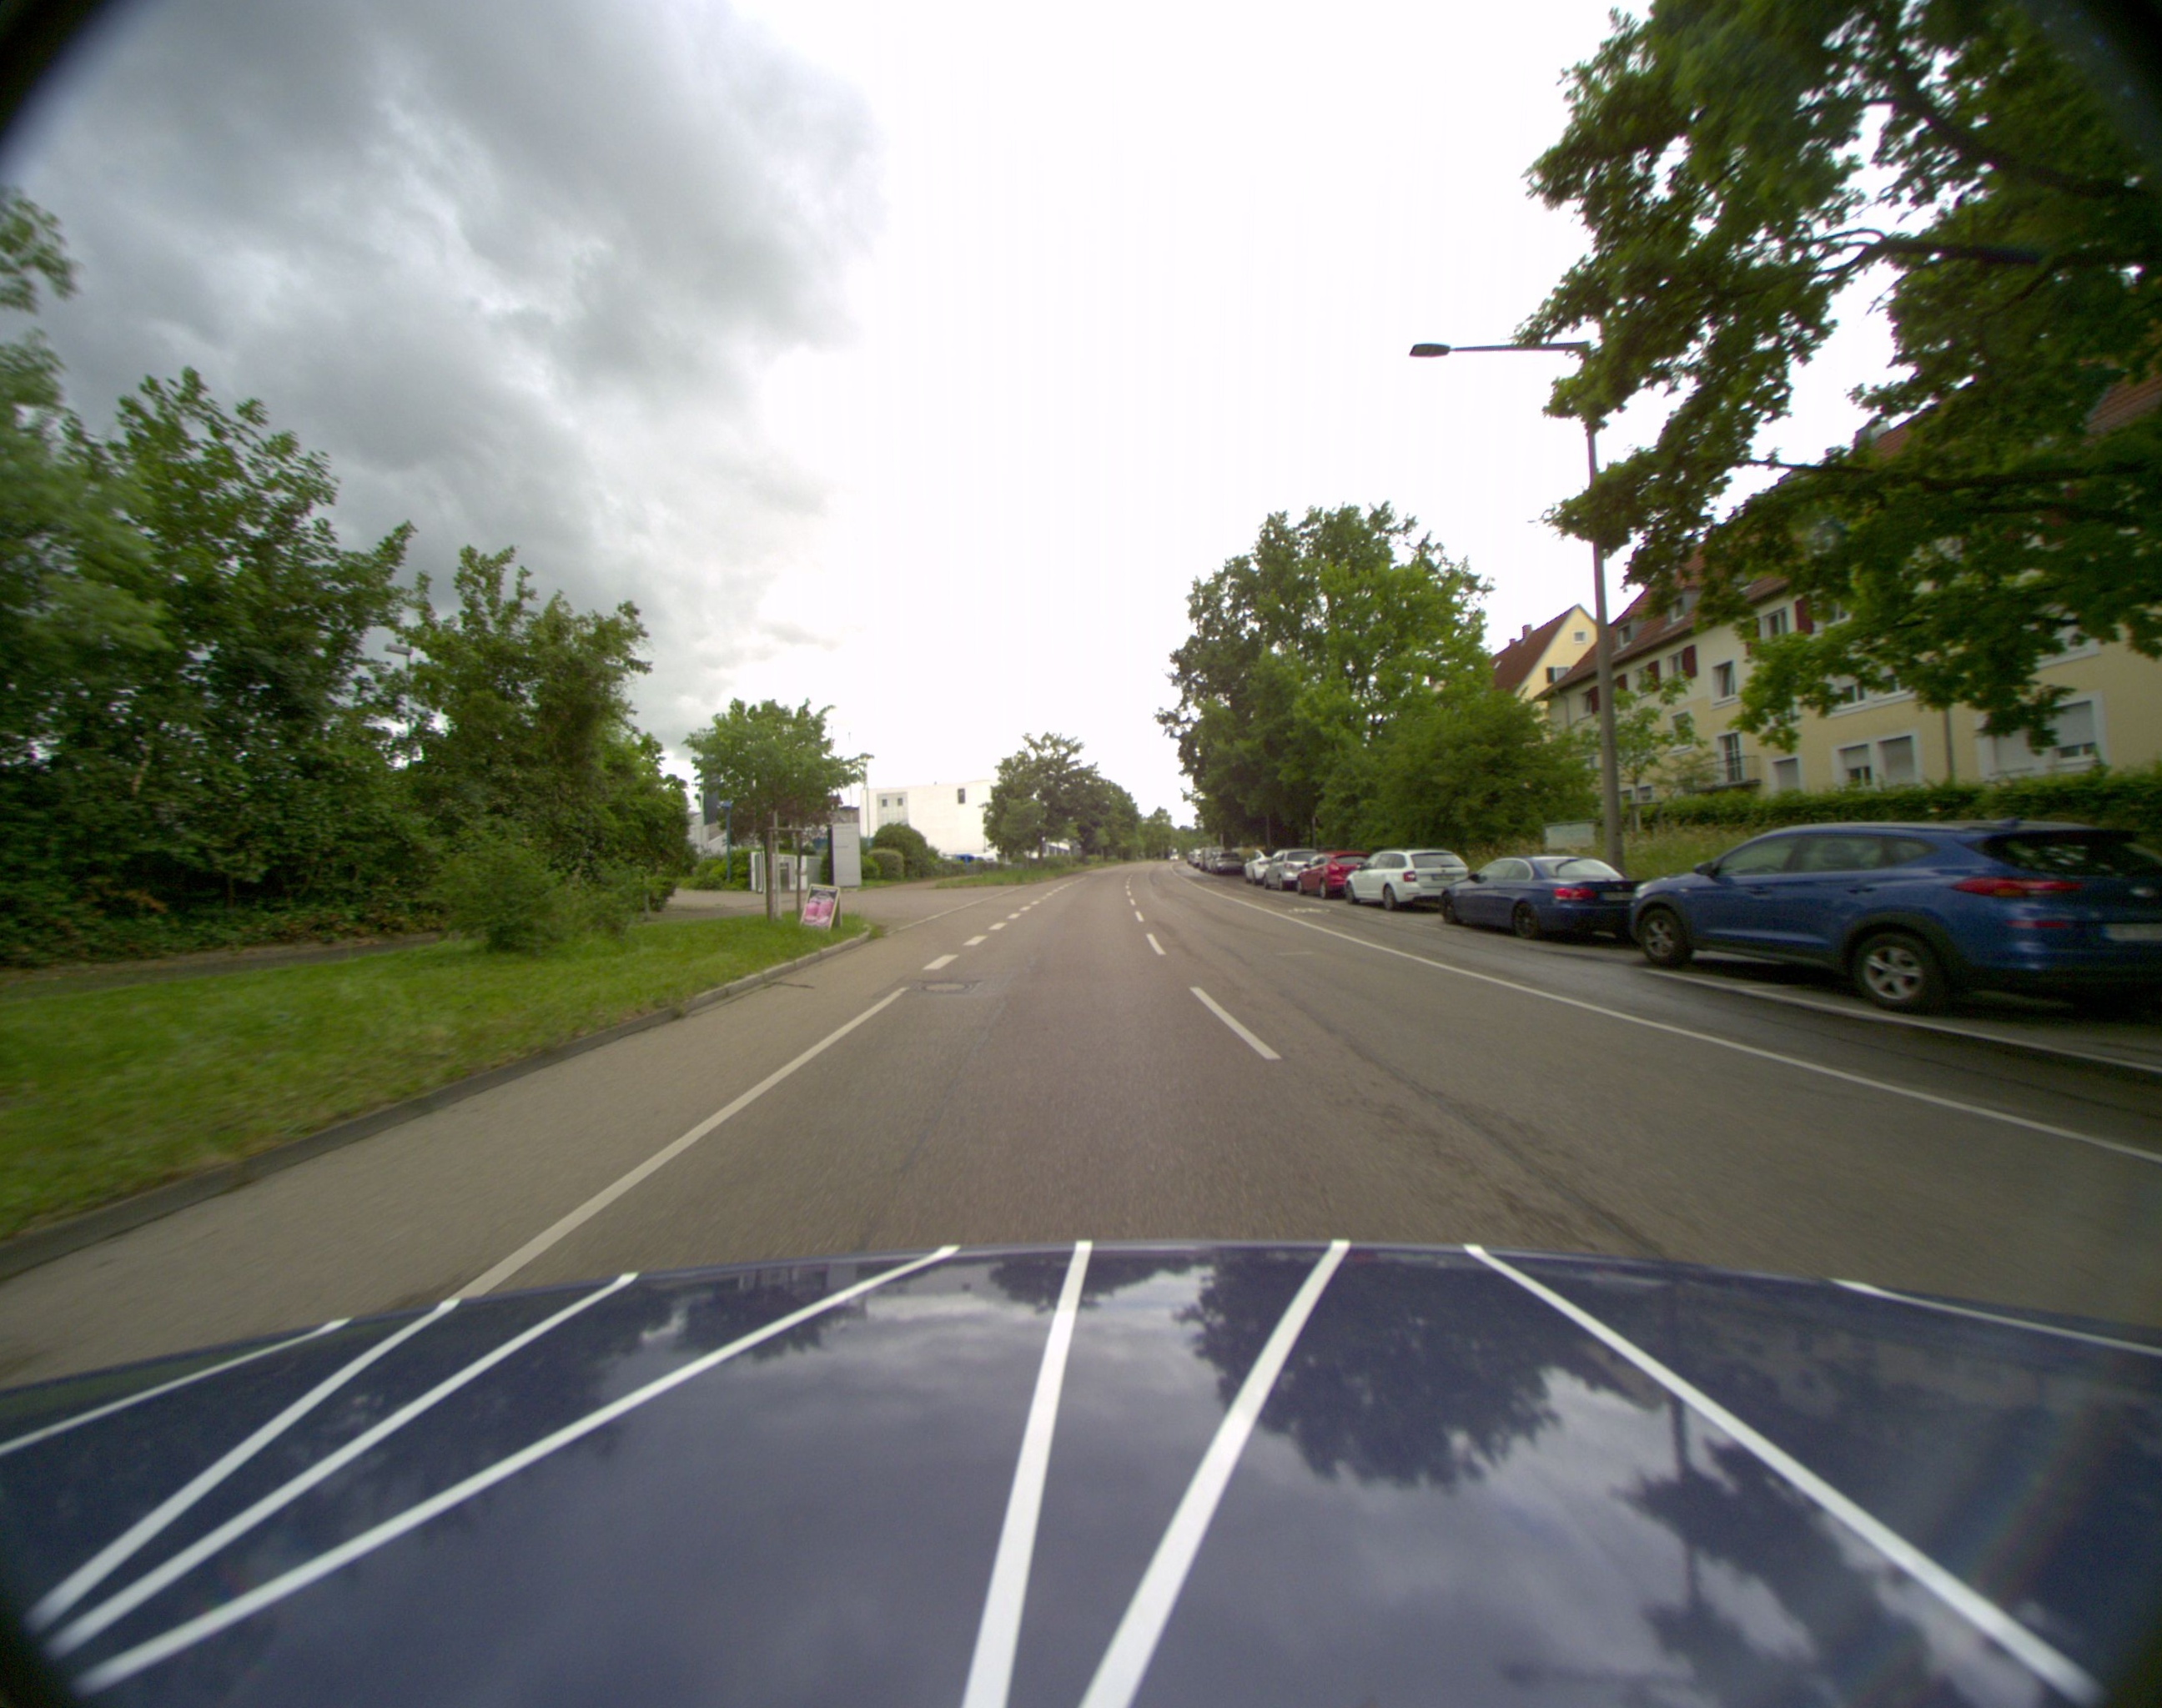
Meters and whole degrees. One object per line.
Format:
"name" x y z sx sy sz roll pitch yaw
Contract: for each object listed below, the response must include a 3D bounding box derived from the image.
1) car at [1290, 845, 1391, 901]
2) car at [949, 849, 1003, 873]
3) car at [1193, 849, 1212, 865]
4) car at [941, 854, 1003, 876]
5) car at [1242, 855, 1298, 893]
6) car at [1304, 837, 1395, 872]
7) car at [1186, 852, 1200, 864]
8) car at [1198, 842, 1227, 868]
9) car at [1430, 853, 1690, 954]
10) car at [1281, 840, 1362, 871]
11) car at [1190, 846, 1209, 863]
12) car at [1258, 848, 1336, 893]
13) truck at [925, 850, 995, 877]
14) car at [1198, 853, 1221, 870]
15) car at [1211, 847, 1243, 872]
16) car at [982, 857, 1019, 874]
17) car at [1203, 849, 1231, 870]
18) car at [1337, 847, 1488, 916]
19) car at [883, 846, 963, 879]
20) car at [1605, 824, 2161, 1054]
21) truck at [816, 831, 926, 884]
"car" 8.181 0.538 24.371 1.719 1.564 4.371 -3 0 1
"car" -11.120 0.731 80.137 5.265 2.175 2.069 -3 0 -18
"car" 12.214 0.311 76.543 1.676 1.555 4.283 -2 0 6
"car" -10.939 1.098 76.208 5.830 1.945 2.069 -3 0 -15
"car" 8.704 0.858 35.397 1.771 1.564 4.761 -1 0 5
"car" 15.153 0.046 43.123 4.441 1.446 1.888 -6 0 8
"car" 15.551 0.538 105.384 1.771 1.582 4.137 -2 0 7
"car" 10.758 0.071 62.460 1.870 1.952 5.129 -2 0 6
"car" 7.841 0.707 13.013 1.719 1.381 4.338 -2 0 1
"car" 15.233 0.073 48.273 4.443 1.442 1.869 -6 0 1
"car" 13.729 0.082 88.185 1.771 1.919 5.158 -3 -1 6
"car" 8.374 0.580 29.814 1.873 1.564 4.120 -3 0 1
"truck" -11.550 0.923 72.563 6.259 2.199 2.243 -3 0 -21
"car" 12.006 0.649 71.231 1.666 1.470 4.091 -2 0 5
"car" 9.909 0.367 51.921 1.770 1.624 4.160 -2 0 6
"car" -11.234 1.613 106.130 4.583 2.022 2.067 -3 0 -33
"car" 10.179 0.430 56.997 1.585 1.473 3.721 -2 0 4
"car" 8.129 0.609 19.172 1.719 1.451 4.756 -3 0 1
"car" -12.724 0.667 61.253 6.034 2.353 2.359 -3 0 -17
"car" 7.740 0.635 7.694 1.719 1.603 4.536 -3 -1 1
"truck" -14.775 0.207 53.545 7.192 3.456 2.615 -2 0 -18
